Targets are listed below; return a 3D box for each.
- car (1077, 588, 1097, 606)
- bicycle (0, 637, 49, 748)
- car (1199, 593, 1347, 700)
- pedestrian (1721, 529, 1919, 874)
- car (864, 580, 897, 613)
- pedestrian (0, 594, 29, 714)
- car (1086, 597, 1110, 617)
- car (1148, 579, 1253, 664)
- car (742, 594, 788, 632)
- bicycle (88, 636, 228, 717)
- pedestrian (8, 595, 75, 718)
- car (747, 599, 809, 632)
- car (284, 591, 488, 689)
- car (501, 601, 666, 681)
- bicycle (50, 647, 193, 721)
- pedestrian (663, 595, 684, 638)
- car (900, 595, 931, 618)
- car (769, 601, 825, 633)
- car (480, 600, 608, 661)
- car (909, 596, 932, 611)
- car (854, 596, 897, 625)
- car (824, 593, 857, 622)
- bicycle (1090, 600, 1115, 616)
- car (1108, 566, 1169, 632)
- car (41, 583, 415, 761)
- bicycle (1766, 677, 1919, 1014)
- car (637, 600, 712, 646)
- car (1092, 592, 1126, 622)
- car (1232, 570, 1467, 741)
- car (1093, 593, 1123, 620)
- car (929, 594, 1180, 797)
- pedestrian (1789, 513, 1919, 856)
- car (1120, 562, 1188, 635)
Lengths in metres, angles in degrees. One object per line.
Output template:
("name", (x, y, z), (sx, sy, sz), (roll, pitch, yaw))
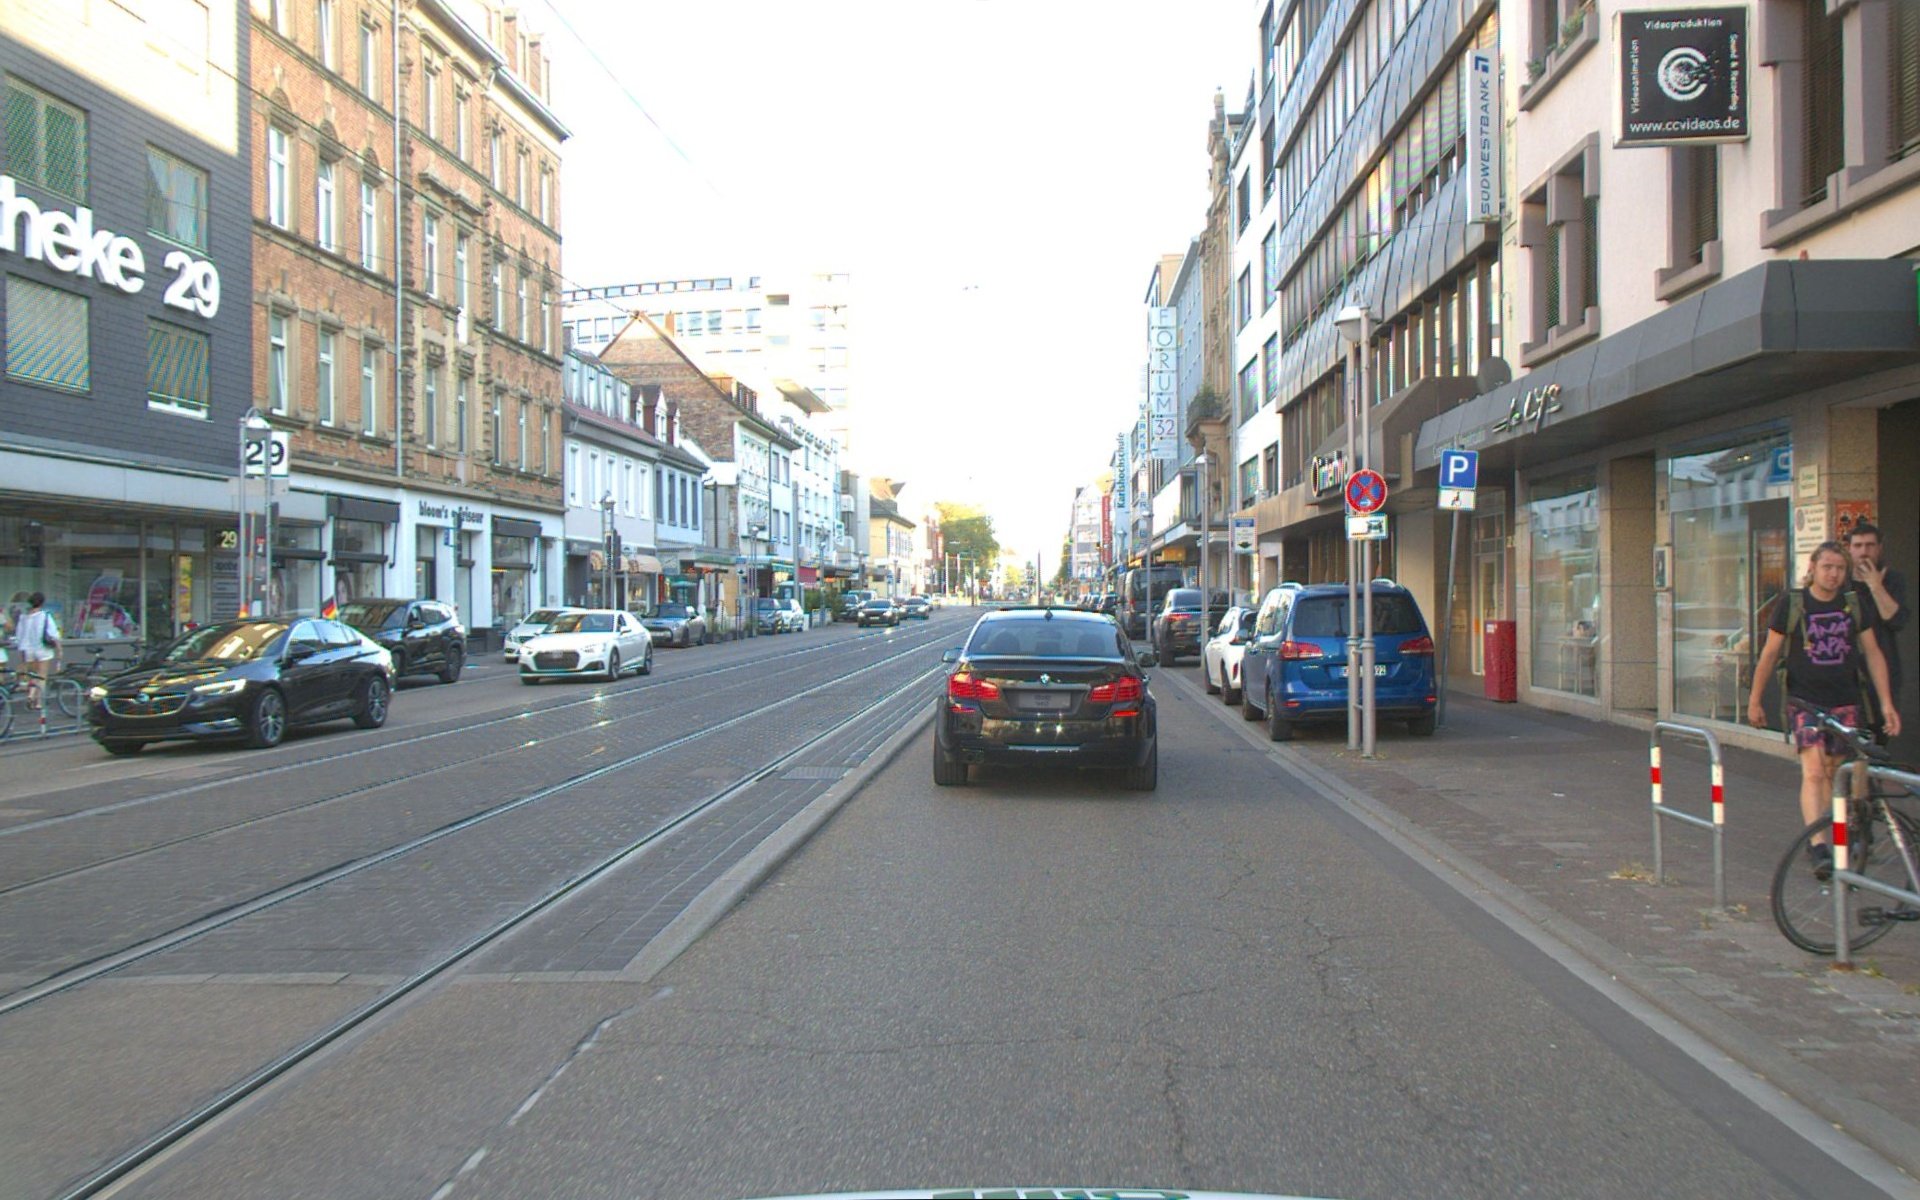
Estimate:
("car", (11.500, -0.296, 149.645), (1.737, 1.576, 3.504), (0, -1, 3))
("bicycle", (-11.963, 1.060, 19.566), (2.068, 1.245, 0.553), (2, 1, 3))
("car", (4.815, 0.661, 25.931), (1.758, 1.458, 3.889), (-2, 0, 3))
("pedestrian", (4.919, 0.552, 9.445), (0.722, 1.860, 0.851), (-2, 0, 2))
("car", (-5.275, -0.230, 110.507), (1.952, 2.194, 4.911), (0, 0, 0))
("pedestrian", (-13.891, 0.766, 23.765), (0.668, 1.690, 0.625), (0, 0, 3))
("car", (11.246, 0.594, 135.256), (1.863, 1.576, 3.781), (0, -1, 3))
("car", (5.440, 0.457, 37.948), (1.952, 1.757, 4.567), (-2, 0, 3))
("car", (-8.364, 0.543, 71.094), (1.446, 1.605, 2.796), (-1, 0, 3))
("bicycle", (-11.564, 1.093, 23.872), (1.793, 1.065, 0.489), (2, 2, 3))
("pedestrian", (-13.163, 0.803, 23.706), (0.607, 1.729, 0.603), (0, 0, 3))
("car", (-8.304, 0.686, 75.772), (1.951, 1.478, 4.824), (0, 0, 4))
("car", (-10.817, 0.693, 31.557), (1.889, 1.704, 4.649), (1, 0, 6))
("car", (-7.512, 0.770, 33.521), (1.951, 1.478, 4.659), (0, 0, 4))
("bicycle", (-11.678, 1.165, 23.041), (1.767, 0.928, 0.456), (2, 2, 3))
("pedestrian", (-11.076, 0.629, 63.969), (0.648, 1.673, 0.694), (0, 0, 4))
("car", (-2.977, 0.416, 110.359), (1.656, 1.478, 4.467), (0, 0, 4))
("car", (-7.919, 0.825, 80.757), (1.951, 1.478, 4.332), (0, 0, 4))
("car", (-10.670, 0.739, 42.794), (1.829, 1.478, 4.613), (0, 0, 4))
("car", (-3.801, 0.335, 159.491), (1.888, 1.460, 4.248), (1, 0, 4))
("car", (-4.439, 0.528, 87.109), (1.952, 1.478, 4.649), (0, 0, 1))
("car", (-7.369, 0.457, 102.441), (1.828, 1.714, 3.999), (0, 0, -1))
("bicycle", (10.243, 0.579, 118.904), (1.822, 1.099, 0.469), (0, -1, 4))
("car", (7.230, -0.030, 67.396), (1.991, 2.498, 5.410), (-2, 0, 2))
("car", (-8.351, 0.741, 19.447), (1.952, 1.757, 4.730), (-2, 0, 4))
("bicycle", (3.777, 0.928, 6.488), (0.522, 1.167, 1.491), (-1, 0, 2))
("car", (-9.488, 0.747, 55.251), (1.565, 1.465, 3.814), (1, 0, 4))
("car", (8.067, 0.384, 89.802), (1.620, 1.564, 3.887), (-2, 0, 3))
("car", (4.543, 0.592, 20.000), (1.952, 1.757, 4.578), (-2, 0, 3))
("car", (8.480, 0.367, 94.748), (1.527, 1.467, 3.710), (-3, 0, 3))
("car", (0.906, 0.762, 14.927), (1.912, 1.525, 4.467), (1, -1, 5))
("pedestrian", (5.538, 0.482, 9.933), (0.647, 1.961, 0.879), (-2, 0, 2))
("car", (7.084, -0.052, 61.055), (2.049, 2.498, 6.034), (-2, 0, 3))
